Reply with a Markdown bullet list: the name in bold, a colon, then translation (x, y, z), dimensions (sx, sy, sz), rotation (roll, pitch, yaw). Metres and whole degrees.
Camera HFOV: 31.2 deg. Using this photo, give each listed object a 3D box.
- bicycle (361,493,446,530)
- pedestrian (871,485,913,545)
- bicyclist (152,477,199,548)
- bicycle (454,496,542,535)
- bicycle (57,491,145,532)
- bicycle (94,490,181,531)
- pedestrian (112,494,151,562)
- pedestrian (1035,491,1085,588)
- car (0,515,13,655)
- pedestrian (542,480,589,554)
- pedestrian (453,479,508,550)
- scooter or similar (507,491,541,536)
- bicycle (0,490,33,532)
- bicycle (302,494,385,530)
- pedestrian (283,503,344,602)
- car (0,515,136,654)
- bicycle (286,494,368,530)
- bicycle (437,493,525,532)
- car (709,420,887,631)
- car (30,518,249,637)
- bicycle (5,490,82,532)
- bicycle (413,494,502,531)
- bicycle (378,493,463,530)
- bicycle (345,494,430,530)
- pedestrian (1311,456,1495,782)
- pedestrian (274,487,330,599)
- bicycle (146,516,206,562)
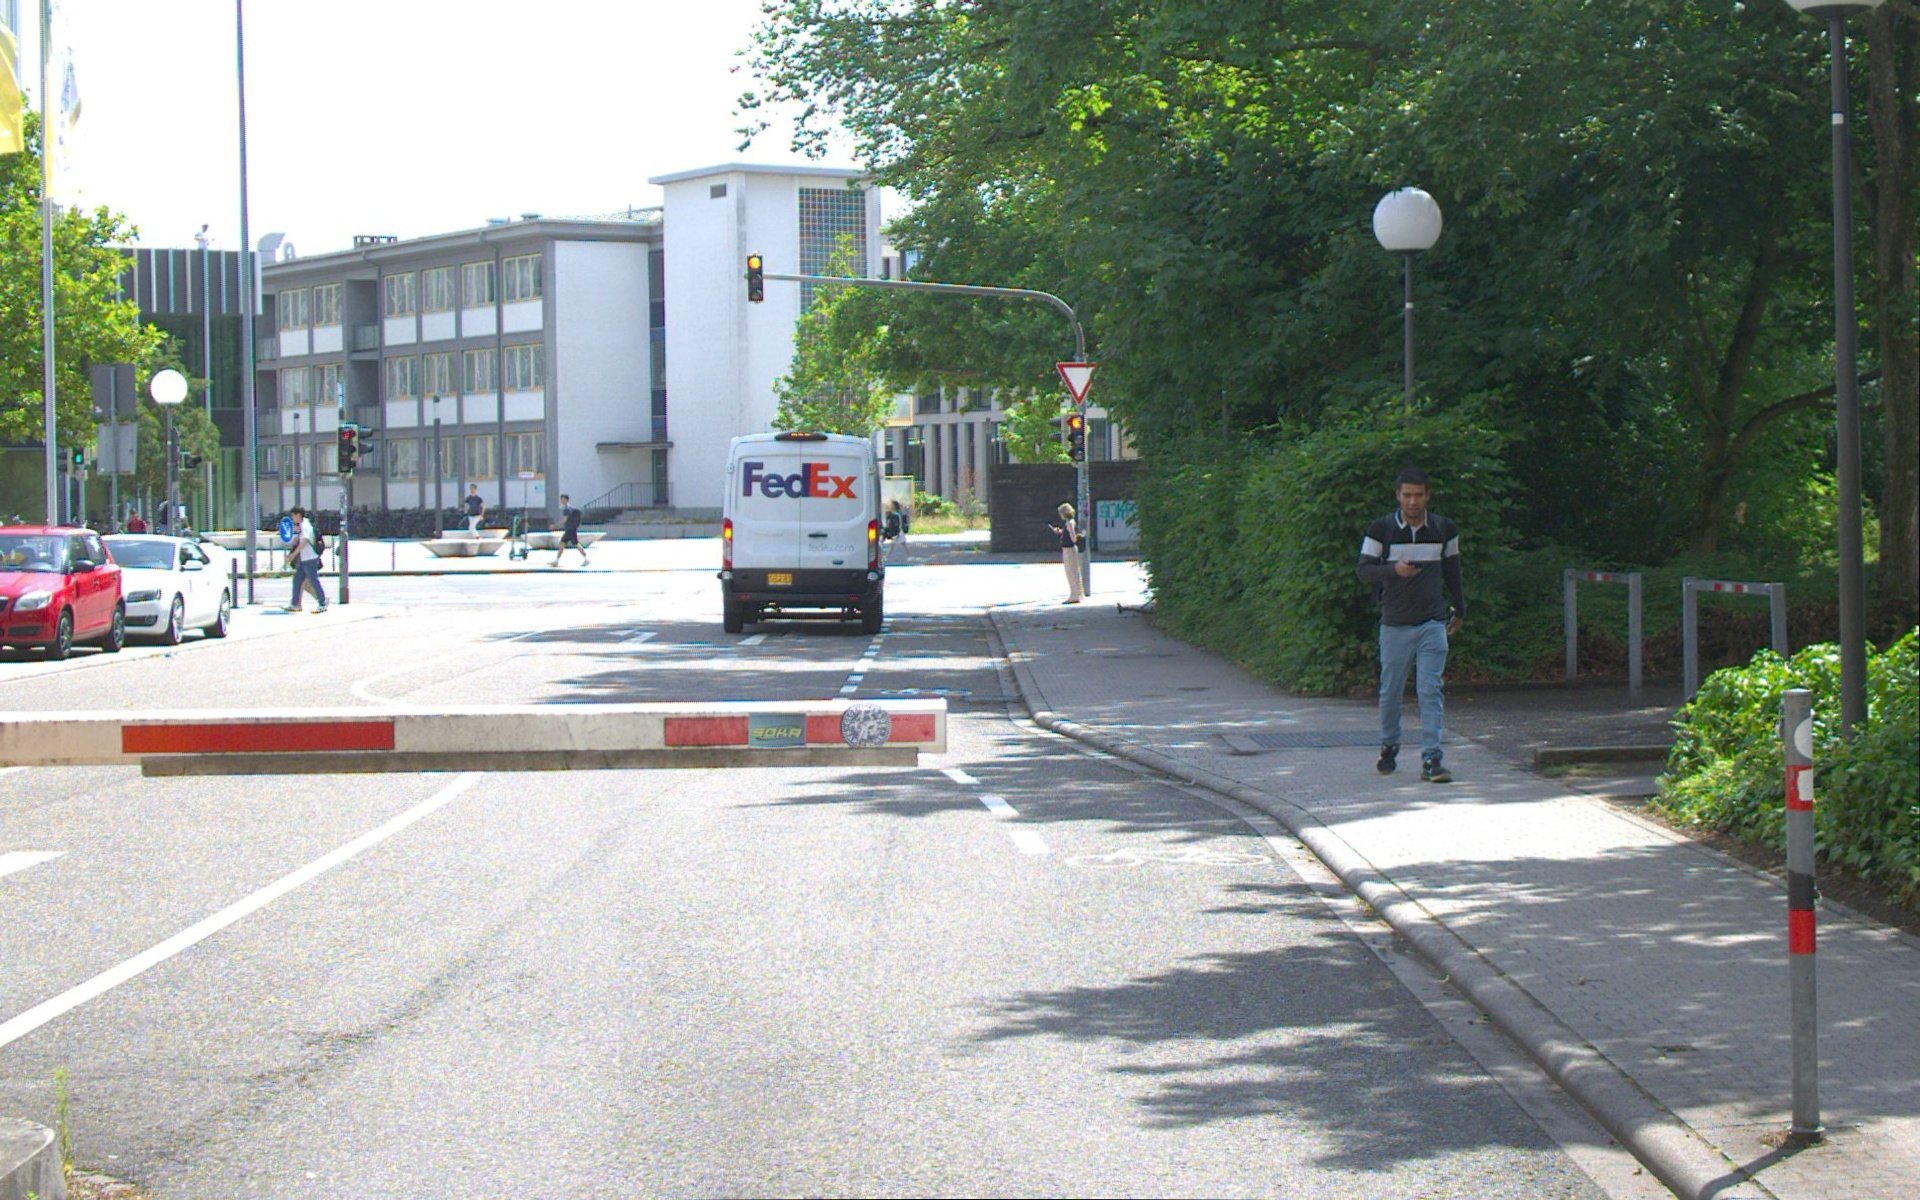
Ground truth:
- **bicycle**: translation (-20.763, -3.310, 128.314), dimensions (2.956, 1.359, 1.117), rotation (-1, 2, -37)
- **pedestrian**: translation (-1.739, -2.169, 88.040), dimensions (0.824, 1.518, 0.815), rotation (-1, 2, -19)
- **bicyclist**: translation (-20.132, -2.253, 88.246), dimensions (0.790, 1.811, 0.999), rotation (-1, 2, 10)
- **bicycle**: translation (-16.485, -3.019, 122.700), dimensions (2.956, 1.359, 1.117), rotation (-1, 2, -37)
- **bicycle**: translation (-25.962, -2.672, 103.851), dimensions (2.949, 1.233, 1.198), rotation (1, 2, 45)
- **bicycle**: translation (-25.095, -2.730, 104.804), dimensions (2.949, 1.233, 1.198), rotation (1, 2, 45)
- **pedestrian**: translation (-20.725, -1.796, 86.035), dimensions (0.753, 1.672, 0.755), rotation (-1, 2, -1)
- **pedestrian**: translation (1.627, -0.997, 56.103), dimensions (0.731, 1.570, 0.776), rotation (0, 2, -5)
- **car**: translation (-10.939, -0.116, 34.250), dimensions (1.748, 1.462, 4.196), rotation (1, 2, 1)
- **pedestrian**: translation (-10.069, -2.118, 87.731), dimensions (1.080, 1.864, 0.832), rotation (-1, 2, -1)
- **pedestrian**: translation (-13.597, -2.431, 97.577), dimensions (1.141, 2.006, 1.155), rotation (0, 2, 17)
- **scooter or similar**: translation (-11.454, -2.278, 90.238), dimensions (0.716, 1.174, 2.726), rotation (-1, 2, -11)
- **bicycle**: translation (-28.585, -2.637, 101.809), dimensions (1.197, 1.233, 2.951), rotation (-1, 2, -36)
- **bicycle**: translation (-23.710, -3.384, 132.302), dimensions (2.956, 1.359, 1.117), rotation (-1, 2, -37)
- **pedestrian**: translation (-10.934, -0.802, 58.165), dimensions (0.843, 1.645, 0.746), rotation (-1, 2, 2)
- **car**: translation (-10.819, -0.219, 39.603), dimensions (1.676, 1.462, 3.911), rotation (1, 2, 0)
- **bicycle**: translation (-24.616, -3.425, 133.790), dimensions (2.956, 1.359, 1.117), rotation (-1, 2, -37)
- **bicycle**: translation (-17.232, -3.155, 123.800), dimensions (2.956, 1.359, 1.117), rotation (-1, 2, -37)
- **car**: translation (-2.056, -1.020, 45.207), dimensions (2.095, 2.557, 5.603), rotation (-1, 2, -1)
- **car**: translation (-10.595, -0.338, 44.715), dimensions (1.676, 1.390, 4.663), rotation (1, 2, 0)
- **bicycle**: translation (-27.536, -2.680, 103.255), dimensions (1.197, 1.233, 2.951), rotation (-1, 2, -37)
- **bicycle**: translation (-18.285, -3.189, 125.069), dimensions (2.956, 1.359, 1.275), rotation (-1, 2, -37)
- **bicycle**: translation (-19.967, -3.285, 127.254), dimensions (2.956, 1.359, 1.117), rotation (-1, 2, -37)
- **bicycle**: translation (-21.537, -3.311, 129.372), dimensions (2.956, 1.359, 1.117), rotation (-1, 2, -37)
- **pedestrian**: translation (2.345, 0.079, 18.329), dimensions (0.739, 1.669, 1.257), rotation (-1, 2, -3)
- **pedestrian**: translation (-10.946, -0.953, 57.195), dimensions (0.719, 1.853, 0.770), rotation (-1, 2, 2)
- **bicycle**: translation (-20.128, -1.576, 88.299), dimensions (0.771, 1.118, 2.025), rotation (-1, 2, 10)
